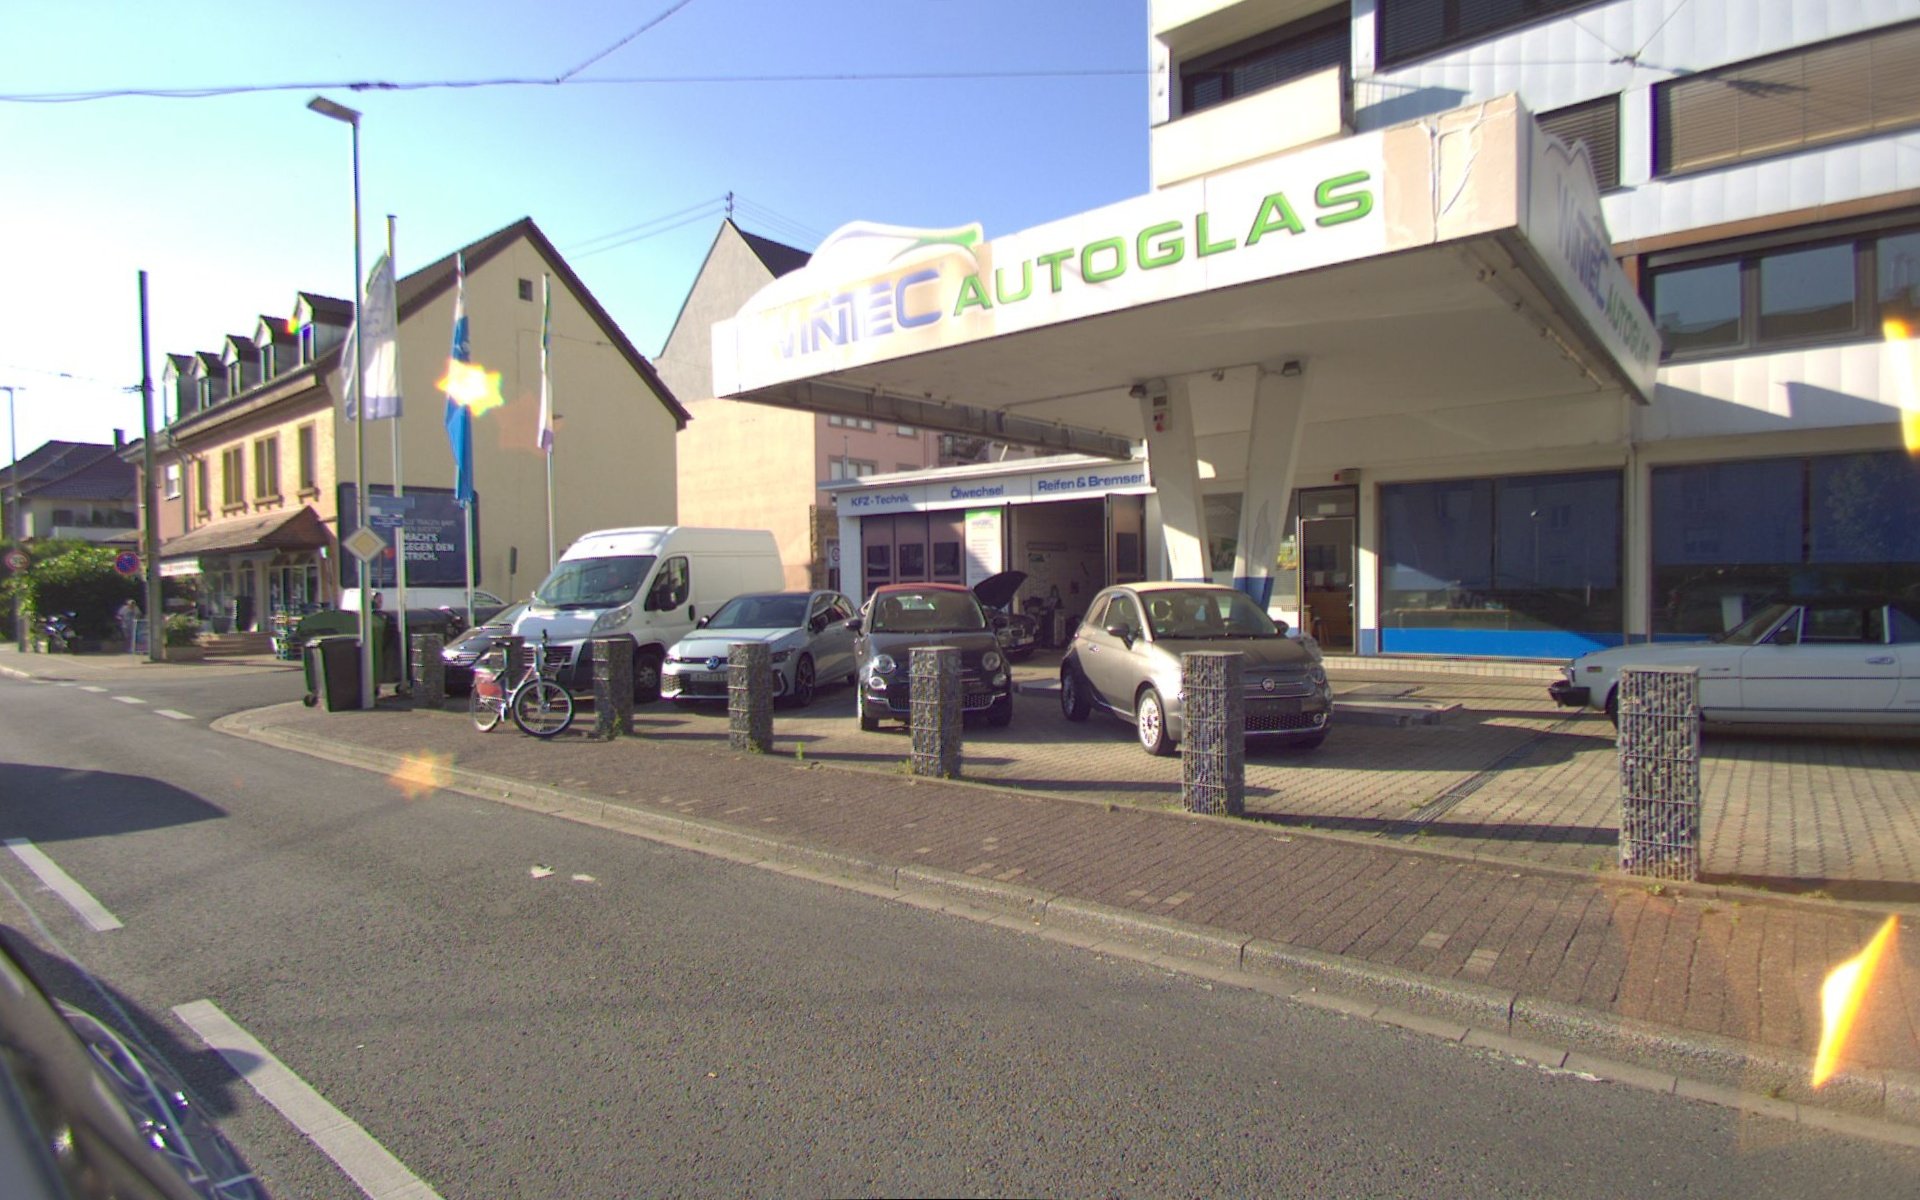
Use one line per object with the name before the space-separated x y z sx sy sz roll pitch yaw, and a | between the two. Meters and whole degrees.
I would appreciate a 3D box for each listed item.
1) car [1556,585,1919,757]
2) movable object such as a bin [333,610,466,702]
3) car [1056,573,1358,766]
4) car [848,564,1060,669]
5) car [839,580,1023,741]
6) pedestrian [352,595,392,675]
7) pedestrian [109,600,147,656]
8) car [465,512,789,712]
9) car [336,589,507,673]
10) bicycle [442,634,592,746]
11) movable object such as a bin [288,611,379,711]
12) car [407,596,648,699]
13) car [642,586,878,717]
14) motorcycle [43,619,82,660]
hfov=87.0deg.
car | 7.393 0.547 8.562 3.898 1.308 1.506 -1 -1 37
movable object such as a bin | -9.568 0.917 17.362 1.039 1.475 1.787 -1 0 15
car | 2.161 0.539 9.785 1.517 1.497 3.381 -1 0 -11
car | -0.198 0.324 20.911 4.255 1.958 1.720 -1 0 40
car | -0.475 0.568 11.500 1.569 1.508 3.443 -1 0 -10
pedestrian | -13.976 0.819 24.080 0.754 1.866 0.826 -1 0 -26
pedestrian | -26.347 0.882 32.057 0.859 1.726 0.799 -1 0 42
car | -4.679 0.134 15.215 2.098 2.472 4.963 -1 0 18
car | -13.884 0.740 26.245 1.449 2.029 3.628 -1 0 37
bicycle | -4.888 0.944 11.114 1.789 1.094 0.716 -1 1 37
movable object such as a bin | -9.698 0.919 15.706 1.030 1.475 0.798 -1 0 -18
car | -7.054 0.706 17.001 1.725 1.488 4.016 -1 0 12
car | -2.523 0.591 13.797 1.725 1.508 4.016 -1 0 12
motorcycle | -27.958 1.203 31.523 2.186 1.226 0.699 -1 0 43
